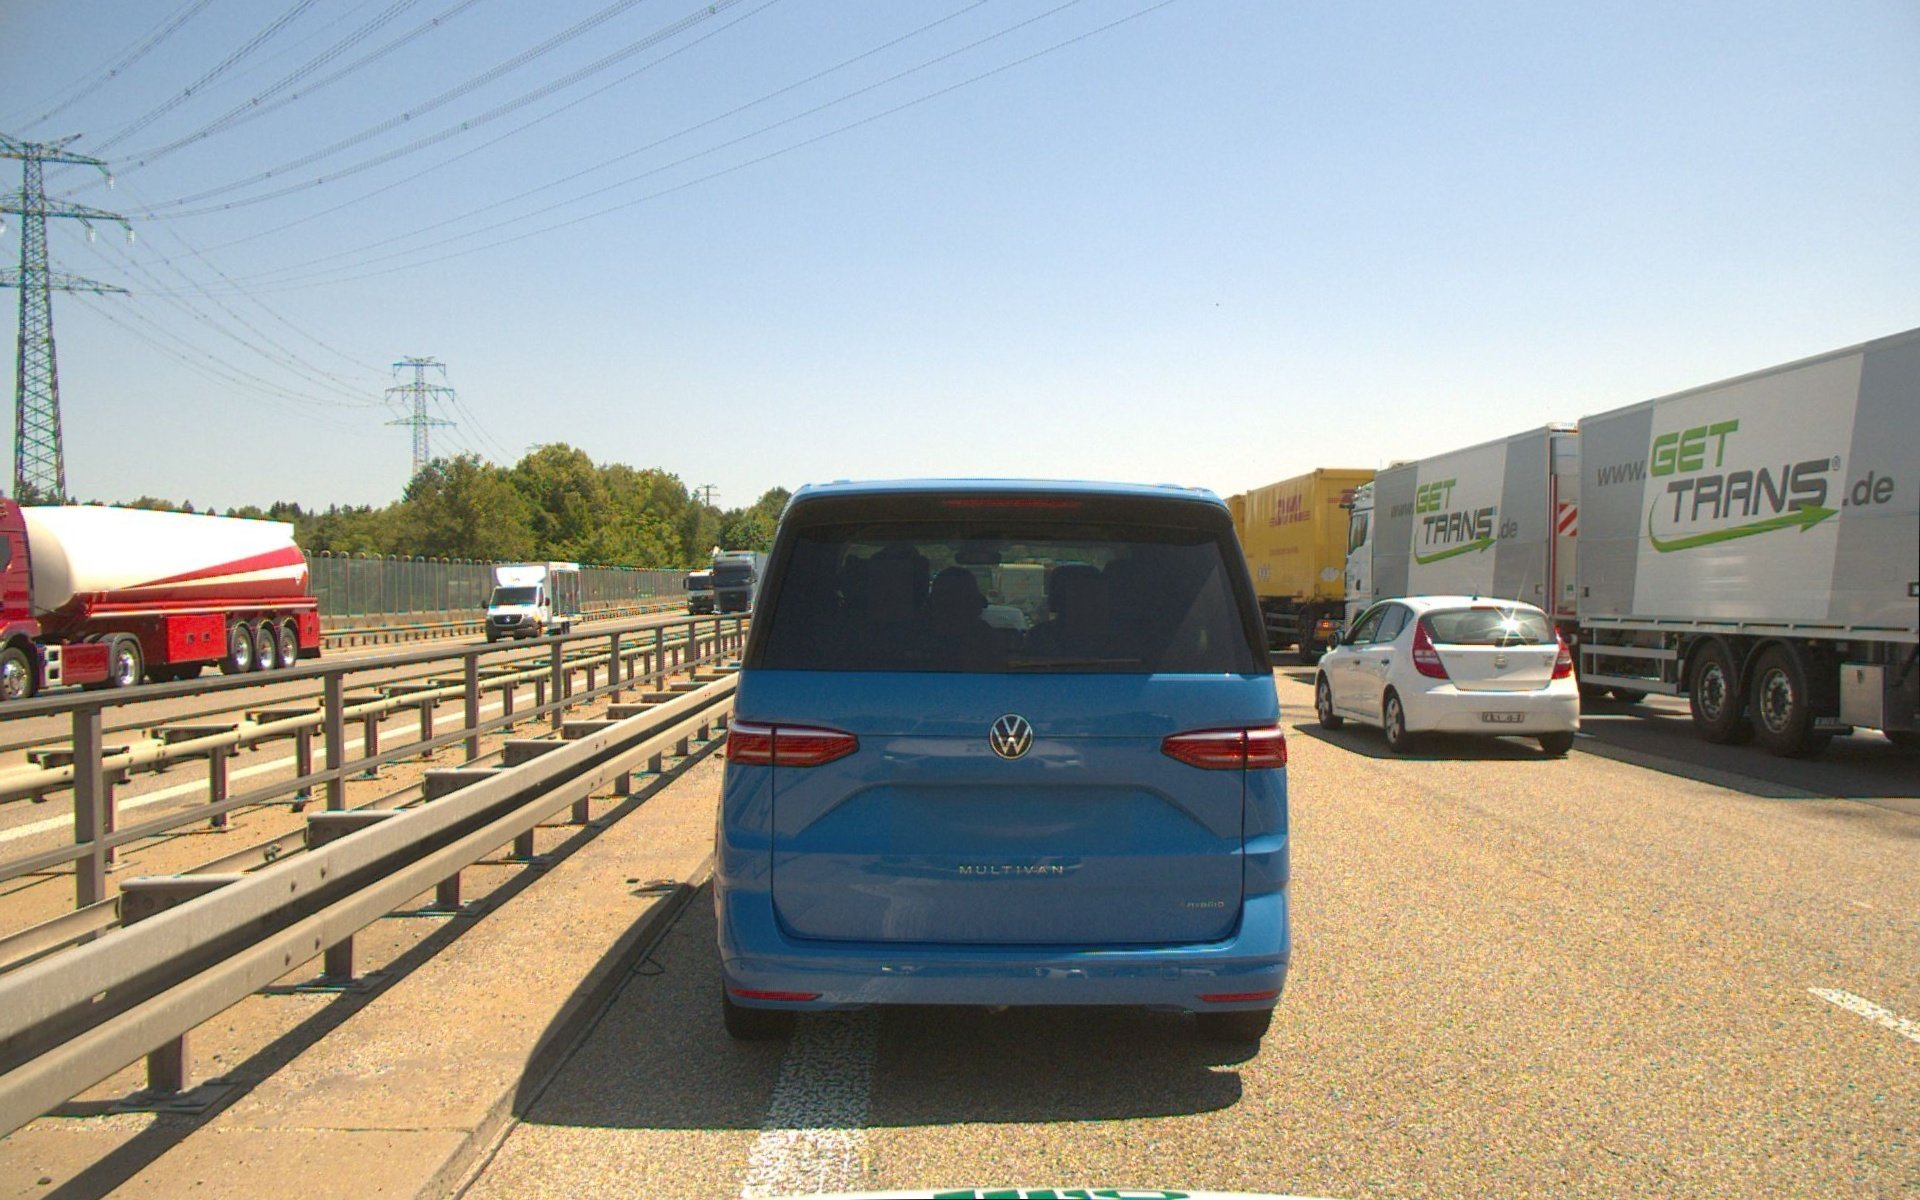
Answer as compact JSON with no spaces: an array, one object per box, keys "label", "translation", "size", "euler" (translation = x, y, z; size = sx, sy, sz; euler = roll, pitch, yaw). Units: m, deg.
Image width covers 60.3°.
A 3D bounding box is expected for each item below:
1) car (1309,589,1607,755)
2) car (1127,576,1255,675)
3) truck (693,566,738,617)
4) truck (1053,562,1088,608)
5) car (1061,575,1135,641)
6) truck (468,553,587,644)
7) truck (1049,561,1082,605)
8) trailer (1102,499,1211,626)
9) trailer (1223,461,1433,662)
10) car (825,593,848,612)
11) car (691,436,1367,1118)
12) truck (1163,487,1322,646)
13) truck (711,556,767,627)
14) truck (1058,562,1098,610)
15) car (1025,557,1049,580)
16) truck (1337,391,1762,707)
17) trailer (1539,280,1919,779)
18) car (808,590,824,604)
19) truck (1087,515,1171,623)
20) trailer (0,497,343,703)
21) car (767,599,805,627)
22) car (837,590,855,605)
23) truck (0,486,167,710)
[{"label":"car","translation":[4.985,0.668,17.117],"size":[1.778,1.496,3.930],"euler":[1,0,-2]},{"label":"car","translation":[4.258,0.461,30.995],"size":[1.778,1.708,3.931],"euler":[1,0,-1]},{"label":"truck","translation":[-18.034,-0.595,122.377],"size":[2.469,3.596,5.329],"euler":[-2,0,0]},{"label":"truck","translation":[6.518,-0.859,98.061],"size":[1.706,2.593,4.209],"euler":[1,0,-1]},{"label":"car","translation":[4.324,0.253,52.210],"size":[1.922,1.970,3.931],"euler":[1,0,-1]},{"label":"truck","translation":[-17.118,-0.043,66.049],"size":[2.511,3.244,8.292],"euler":[-3,0,-1]},{"label":"truck","translation":[6.576,-1.053,103.340],"size":[1.760,2.641,4.305],"euler":[1,0,-1]},{"label":"trailer","translation":[7.814,-1.388,67.182],"size":[2.964,4.692,10.923],"euler":[1,0,0]},{"label":"trailer","translation":[8.441,-0.785,39.191],"size":[2.629,4.159,8.976],"euler":[1,0,-2]},{"label":"car","translation":[-10.911,0.233,146.480],"size":[1.844,1.579,4.188],"euler":[1,0,-2]},{"label":"car","translation":[0.174,0.512,6.688],"size":[1.891,1.906,3.999],"euler":[1,0,-1]},{"label":"truck","translation":[8.081,-0.874,48.644],"size":[2.645,4.159,9.936],"euler":[1,0,-2]},{"label":"truck","translation":[-13.641,-0.509,102.405],"size":[2.697,4.188,6.263],"euler":[-1,0,-1]},{"label":"truck","translation":[6.335,-0.738,89.407],"size":[1.761,2.492,4.503],"euler":[1,0,-1]},{"label":"car","translation":[6.537,-2.676,140.928],"size":[1.760,1.782,3.942],"euler":[1,0,-1]},{"label":"truck","translation":[8.776,-0.632,26.502],"size":[2.794,4.003,10.607],"euler":[1,0,-1]},{"label":"trailer","translation":[8.945,-0.527,17.119],"size":[2.840,3.959,8.212],"euler":[1,0,-1]},{"label":"car","translation":[-18.014,-0.419,207.105],"size":[1.770,1.668,3.998],"euler":[-2,0,-2]},{"label":"truck","translation":[7.737,-1.333,76.600],"size":[2.964,4.692,7.920],"euler":[1,0,0]},{"label":"trailer","translation":[-16.403,0.060,34.136],"size":[2.818,3.438,12.005],"euler":[-3,0,0]},{"label":"car","translation":[-9.886,0.729,94.022],"size":[1.761,1.524,3.851],"euler":[-2,0,-1]},{"label":"car","translation":[-12.499,-0.221,181.768],"size":[1.844,1.579,4.188],"euler":[1,0,-2]},{"label":"truck","translation":[-16.344,0.019,27.919],"size":[2.849,3.475,6.293],"euler":[-2,0,-1]}]
